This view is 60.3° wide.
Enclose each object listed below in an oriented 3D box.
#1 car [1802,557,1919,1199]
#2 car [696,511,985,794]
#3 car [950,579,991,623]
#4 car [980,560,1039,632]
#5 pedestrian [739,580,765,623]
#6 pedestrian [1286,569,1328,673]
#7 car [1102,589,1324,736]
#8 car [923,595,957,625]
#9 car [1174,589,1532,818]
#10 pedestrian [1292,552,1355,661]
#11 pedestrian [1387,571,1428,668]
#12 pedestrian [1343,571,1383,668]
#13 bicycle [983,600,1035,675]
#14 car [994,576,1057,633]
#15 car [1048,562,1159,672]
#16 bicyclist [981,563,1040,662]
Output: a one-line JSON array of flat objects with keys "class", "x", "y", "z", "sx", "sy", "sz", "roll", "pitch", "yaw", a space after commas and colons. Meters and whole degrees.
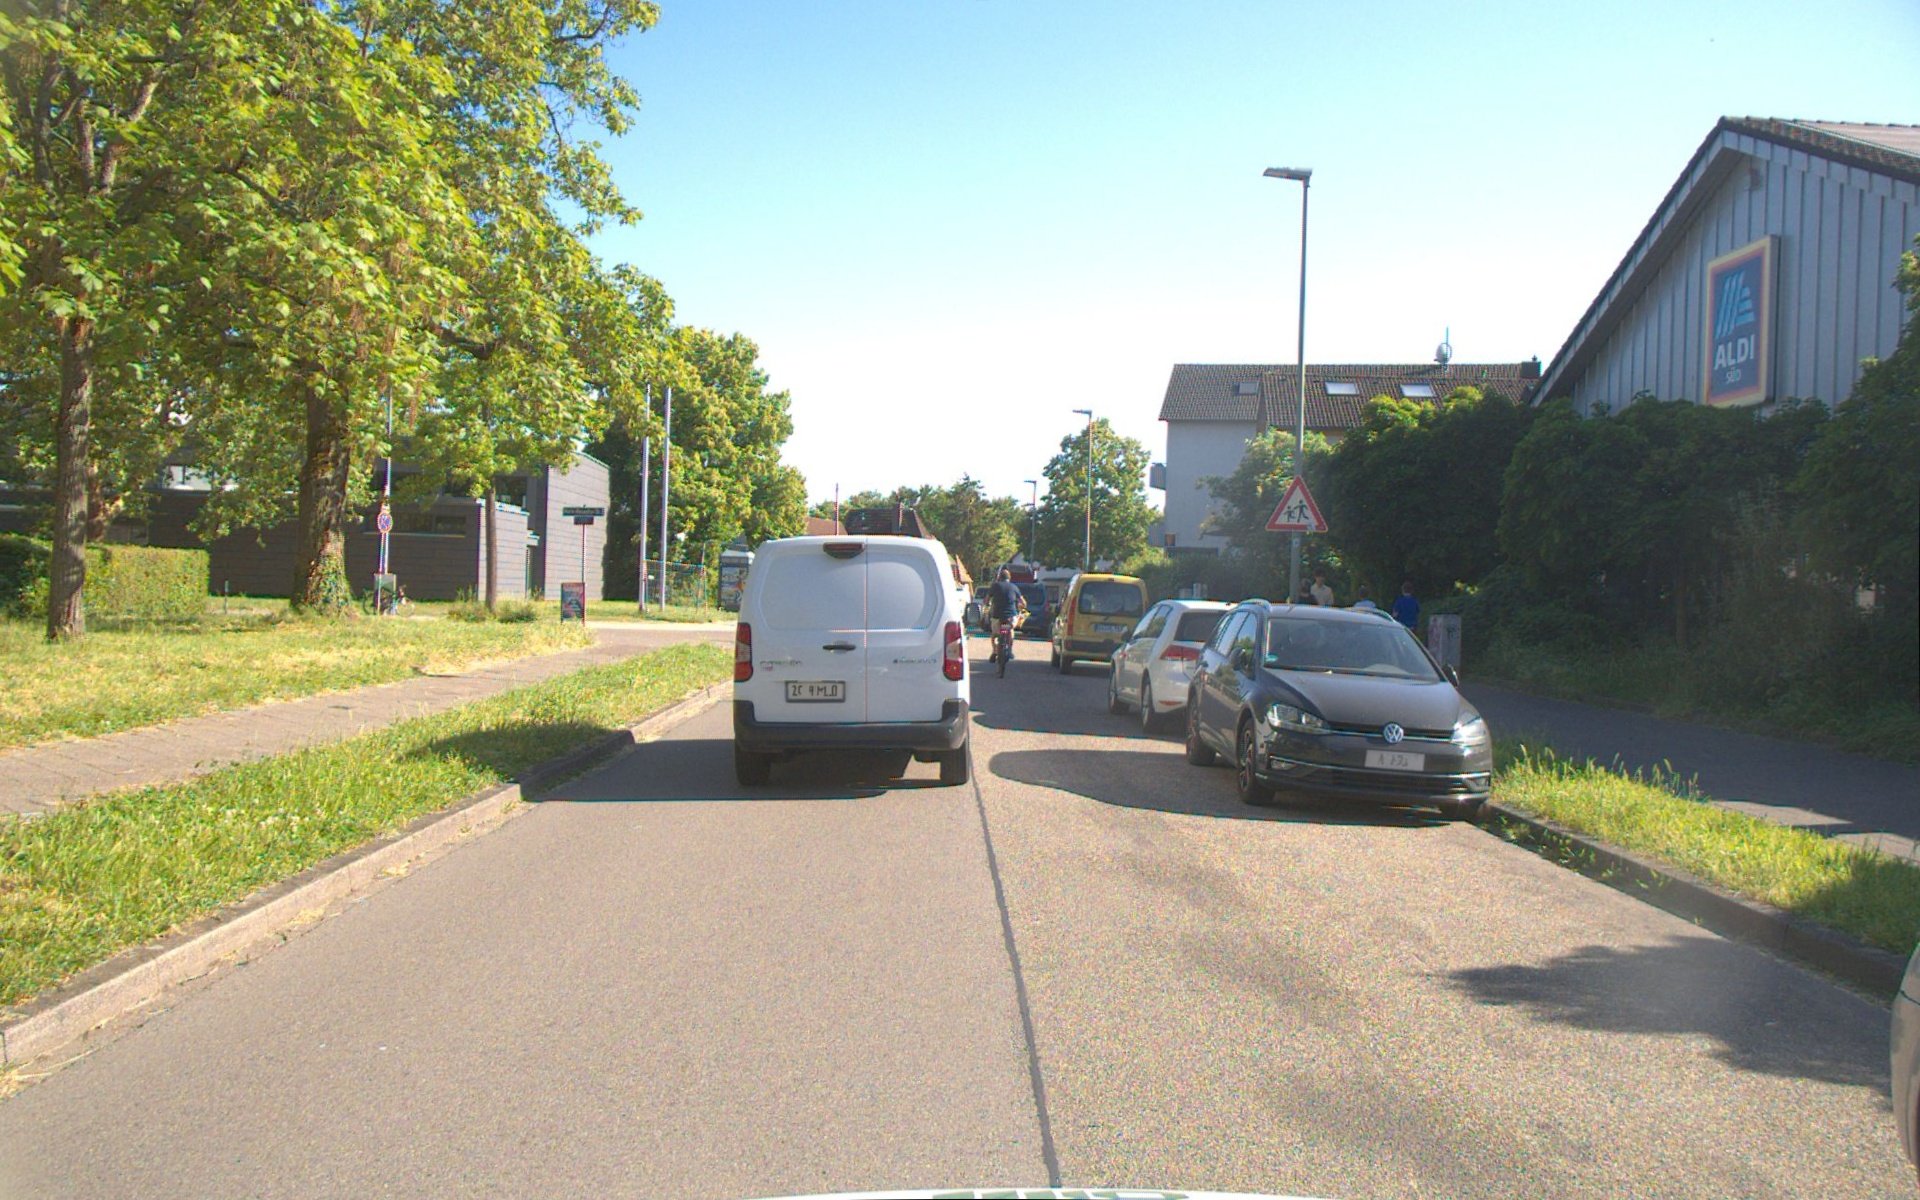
[{"class": "car", "x": 3.176, "y": 0.775, "z": 2.358, "sx": 1.646, "sy": 1.627, "sz": 4.026, "roll": 5, "pitch": 0, "yaw": -3}, {"class": "car", "x": -0.849, "y": 0.339, "z": 13.632, "sx": 1.953, "sy": 1.914, "sz": 4.288, "roll": 2, "pitch": 1, "yaw": -1}, {"class": "car", "x": 0.529, "y": 0.061, "z": 84.142, "sx": 1.768, "sy": 2.104, "sz": 3.998, "roll": 4, "pitch": -1, "yaw": -2}, {"class": "car", "x": 1.891, "y": -0.126, "z": 64.984, "sx": 1.829, "sy": 2.607, "sz": 4.765, "roll": 4, "pitch": -1, "yaw": -2}, {"class": "pedestrian", "x": -7.265, "y": 0.052, "z": 57.679, "sx": 0.500, "sy": 1.470, "sz": 0.637, "roll": 5, "pitch": 0, "yaw": 32}, {"class": "pedestrian", "x": 5.668, "y": 0.342, "z": 27.012, "sx": 0.555, "sy": 1.665, "sz": 0.547, "roll": 2, "pitch": 0, "yaw": 4}, {"class": "car", "x": 2.828, "y": 0.646, "z": 19.347, "sx": 1.790, "sy": 1.477, "sz": 3.998, "roll": 2, "pitch": 0, "yaw": -2}, {"class": "car", "x": -1.316, "y": 0.707, "z": 111.389, "sx": 1.766, "sy": 1.874, "sz": 4.002, "roll": 4, "pitch": -1, "yaw": 6}, {"class": "car", "x": 2.946, "y": 0.685, "z": 13.384, "sx": 1.771, "sy": 1.468, "sz": 4.363, "roll": 2, "pitch": 1, "yaw": -1}, {"class": "pedestrian", "x": 6.506, "y": 0.109, "z": 29.633, "sx": 0.779, "sy": 1.893, "sz": 0.873, "roll": 2, "pitch": 0, "yaw": -8}, {"class": "pedestrian", "x": 7.807, "y": 0.337, "z": 28.859, "sx": 0.555, "sy": 1.665, "sz": 0.547, "roll": 2, "pitch": 0, "yaw": 4}, {"class": "pedestrian", "x": 7.046, "y": 0.342, "z": 28.921, "sx": 0.555, "sy": 1.665, "sz": 0.547, "roll": 2, "pitch": 0, "yaw": 4}, {"class": "bicycle", "x": 0.811, "y": 0.606, "z": 27.860, "sx": 0.771, "sy": 1.158, "sz": 2.280, "roll": 2, "pitch": 1, "yaw": 0}, {"class": "car", "x": 2.250, "y": 0.169, "z": 57.589, "sx": 1.768, "sy": 1.816, "sz": 3.998, "roll": 4, "pitch": -1, "yaw": -2}, {"class": "car", "x": 2.629, "y": 0.303, "z": 31.068, "sx": 1.689, "sy": 1.869, "sz": 4.000, "roll": 2, "pitch": 0, "yaw": 0}, {"class": "bicyclist", "x": 0.843, "y": 0.211, "z": 27.904, "sx": 0.887, "sy": 1.612, "sz": 0.966, "roll": 2, "pitch": -1, "yaw": -1}]
